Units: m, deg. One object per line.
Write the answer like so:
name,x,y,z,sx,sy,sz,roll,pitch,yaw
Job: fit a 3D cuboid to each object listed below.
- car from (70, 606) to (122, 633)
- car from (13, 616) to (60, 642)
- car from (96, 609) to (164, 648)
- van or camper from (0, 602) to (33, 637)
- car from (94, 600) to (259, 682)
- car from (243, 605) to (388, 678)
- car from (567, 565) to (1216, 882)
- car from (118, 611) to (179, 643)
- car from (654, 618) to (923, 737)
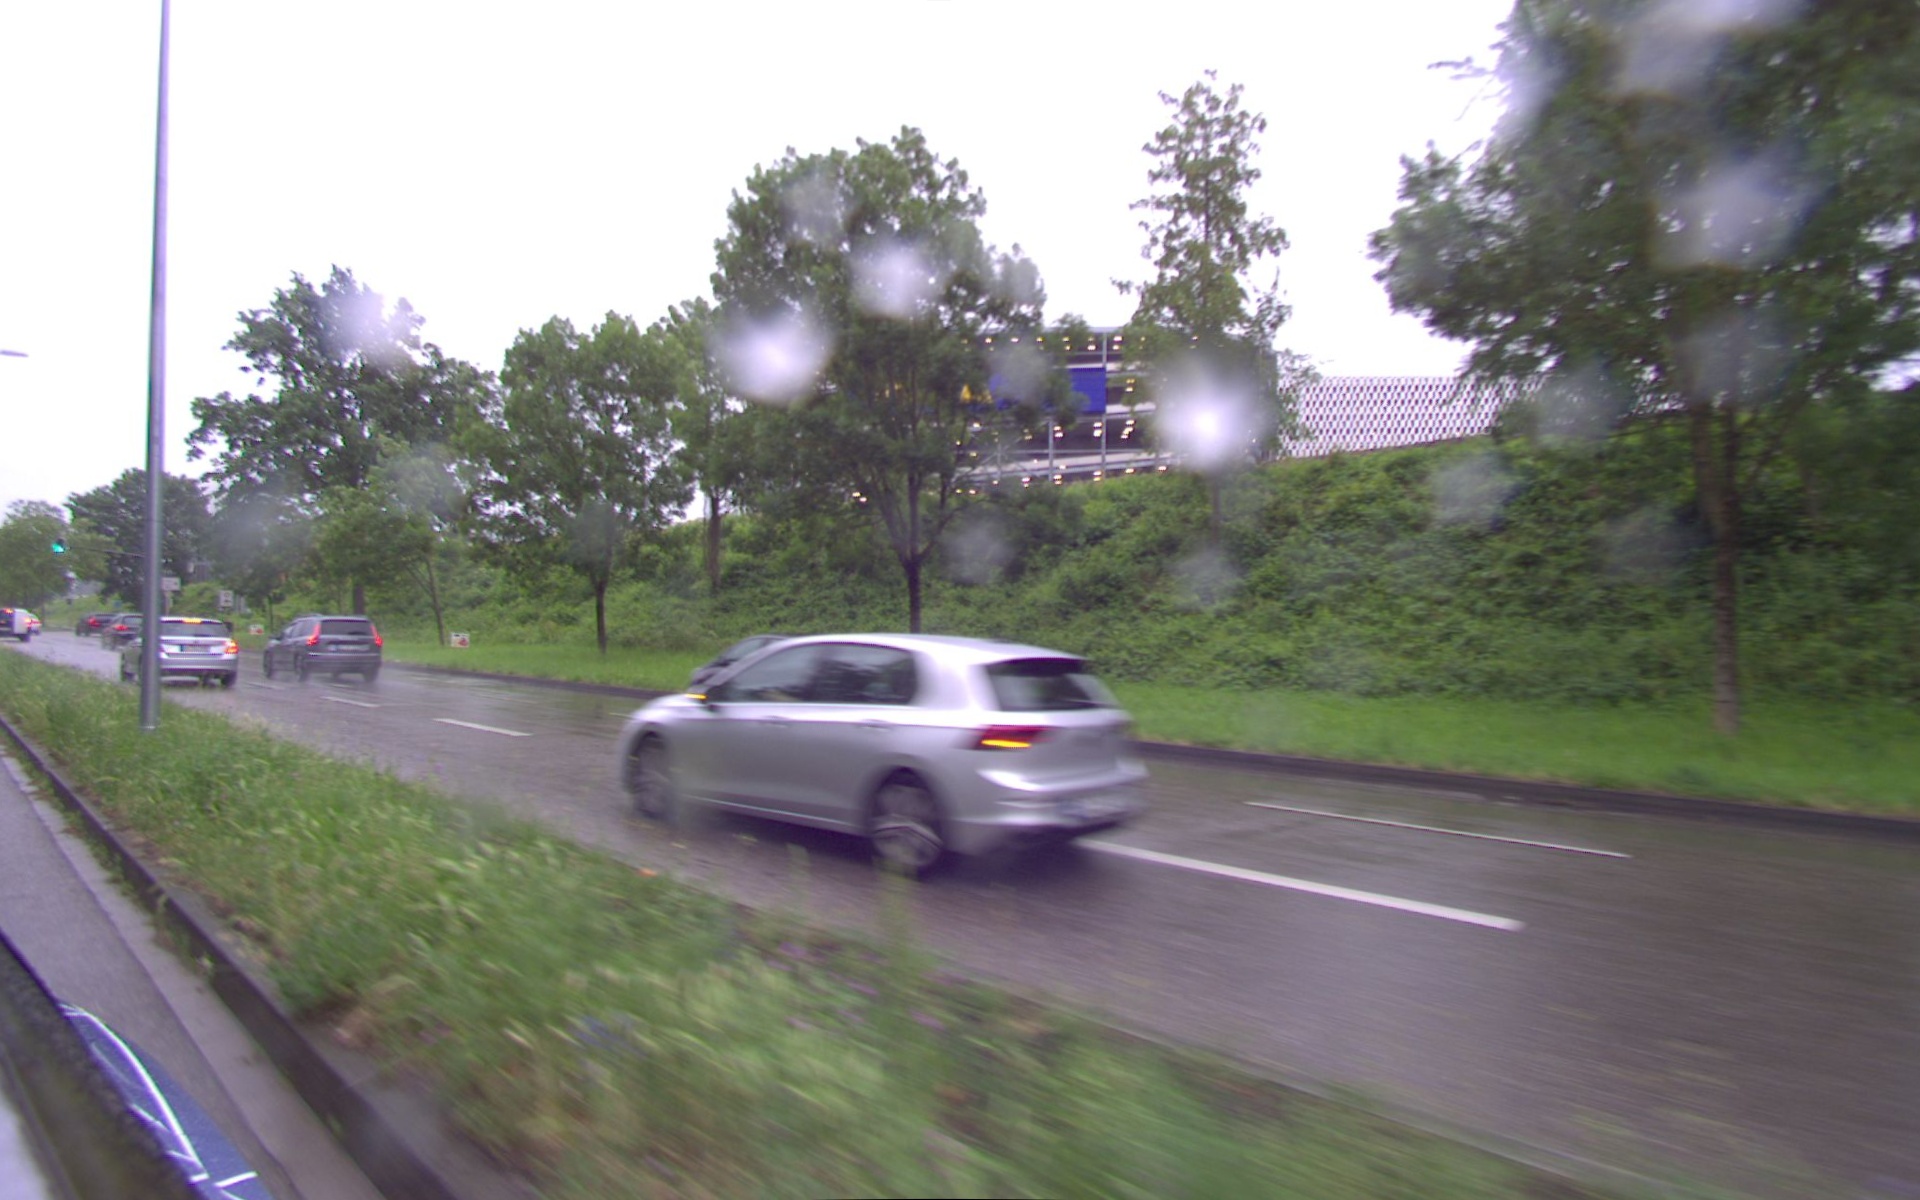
car,-58.152,1.297,68.064,4.678,1.673,2.015,0,-2,42
car,-62.857,1.949,68.889,4.711,1.625,1.878,0,-4,43
car,-37.781,1.273,46.036,4.113,1.625,1.877,0,-4,44
van or camper,-51.029,1.005,54.068,3.999,1.755,1.710,0,-4,42
car,-17.251,0.877,22.231,4.107,1.625,1.880,0,-4,39
car,-16.545,1.049,25.888,4.709,1.700,1.971,-1,-4,44
car,-0.746,0.684,7.344,4.706,1.586,1.889,-1,-4,41
car,-44.579,1.473,55.571,4.477,1.625,1.878,0,-2,42
car,-2.980,1.188,16.917,4.709,1.700,1.971,-1,-3,44
